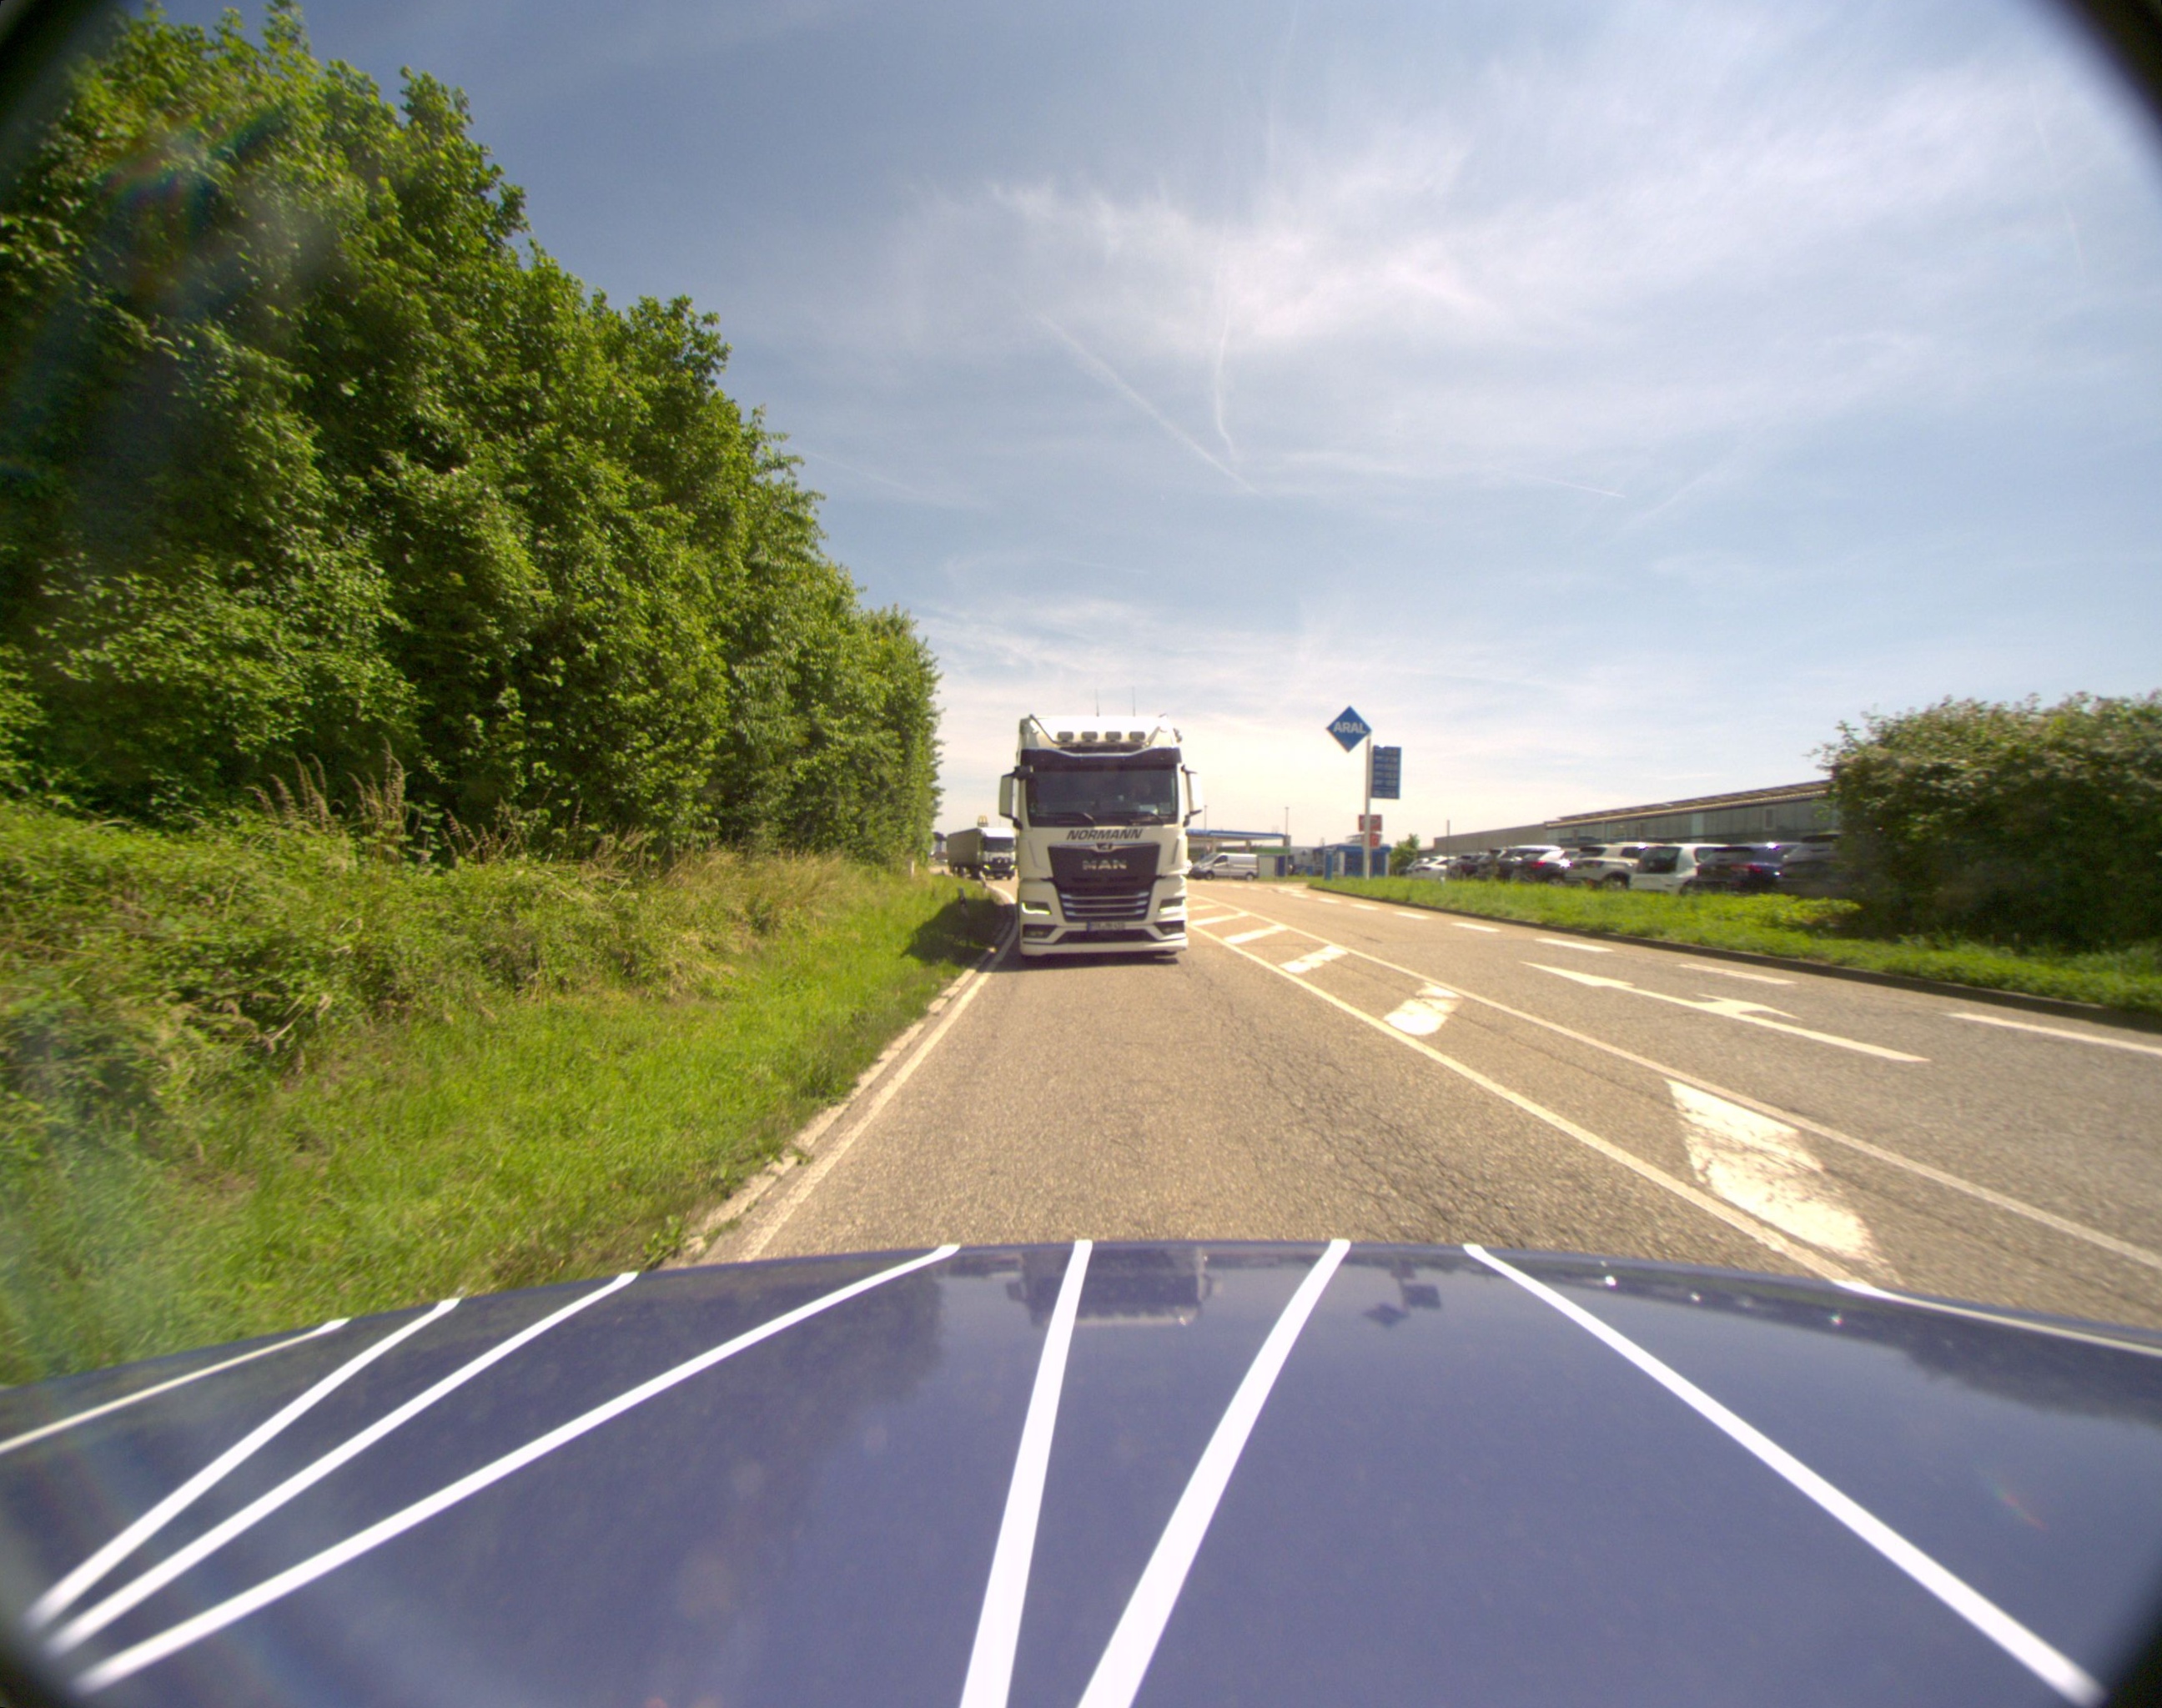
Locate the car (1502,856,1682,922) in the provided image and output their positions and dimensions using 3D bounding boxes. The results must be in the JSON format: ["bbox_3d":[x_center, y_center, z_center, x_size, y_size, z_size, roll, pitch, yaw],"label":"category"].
[{"bbox_3d":[15.191,1.006,22.809,3.994,1.739,2.001,2,0,7],"label":"car"}]

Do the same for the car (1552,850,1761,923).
[{"bbox_3d":[15.351,0.831,20.482,3.994,1.739,2.001,2,0,7],"label":"car"}]

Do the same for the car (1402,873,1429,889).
[{"bbox_3d":[34.708,2.817,78.928,1.757,1.434,3.903,-2,0,11],"label":"car"}]

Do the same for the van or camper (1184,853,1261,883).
[{"bbox_3d":[9.872,0.978,52.981,4.868,1.893,1.901,3,-1,-17],"label":"van or camper"}]

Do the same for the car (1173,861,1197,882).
[{"bbox_3d":[9.421,1.575,68.705,1.865,1.702,4.523,1,1,12],"label":"car"}]

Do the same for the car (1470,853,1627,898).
[{"bbox_3d":[15.543,0.705,25.493,3.994,1.324,2.001,2,0,7],"label":"car"}]

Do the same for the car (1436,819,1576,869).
[{"bbox_3d":[15.408,-0.388,27.760,3.994,1.740,2.001,0,1,8],"label":"car"}]

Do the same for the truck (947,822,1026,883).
[{"bbox_3d":[-8.362,-0.204,64.079,2.985,4.446,16.422,-2,1,-19],"label":"truck"}]

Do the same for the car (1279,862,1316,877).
[{"bbox_3d":[24.551,1.751,86.125,3.991,1.597,1.949,0,0,17],"label":"car"}]

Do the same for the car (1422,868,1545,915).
[{"bbox_3d":[16.318,1.494,30.996,3.995,1.740,1.935,0,1,6],"label":"car"}]

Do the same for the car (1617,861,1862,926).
[{"bbox_3d":[15.250,0.876,17.799,3.995,1.309,1.834,2,0,5],"label":"car"}]

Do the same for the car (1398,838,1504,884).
[{"bbox_3d":[17.286,0.320,35.640,3.995,2.002,2.001,-1,0,6],"label":"car"}]

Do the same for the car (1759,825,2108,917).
[{"bbox_3d":[14.452,0.291,13.108,3.703,1.365,1.805,-2,0,8],"label":"car"}]

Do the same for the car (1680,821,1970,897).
[{"bbox_3d":[15.031,0.111,15.559,3.995,1.354,1.821,-2,-1,5],"label":"car"}]

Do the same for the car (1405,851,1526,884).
[{"bbox_3d":[16.618,0.553,33.018,4.245,1.351,2.001,0,0,6],"label":"car"}]

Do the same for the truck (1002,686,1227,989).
[{"bbox_3d":[-0.150,-0.399,19.191,2.982,4.070,17.623,-2,1,-4],"label":"truck"}]
